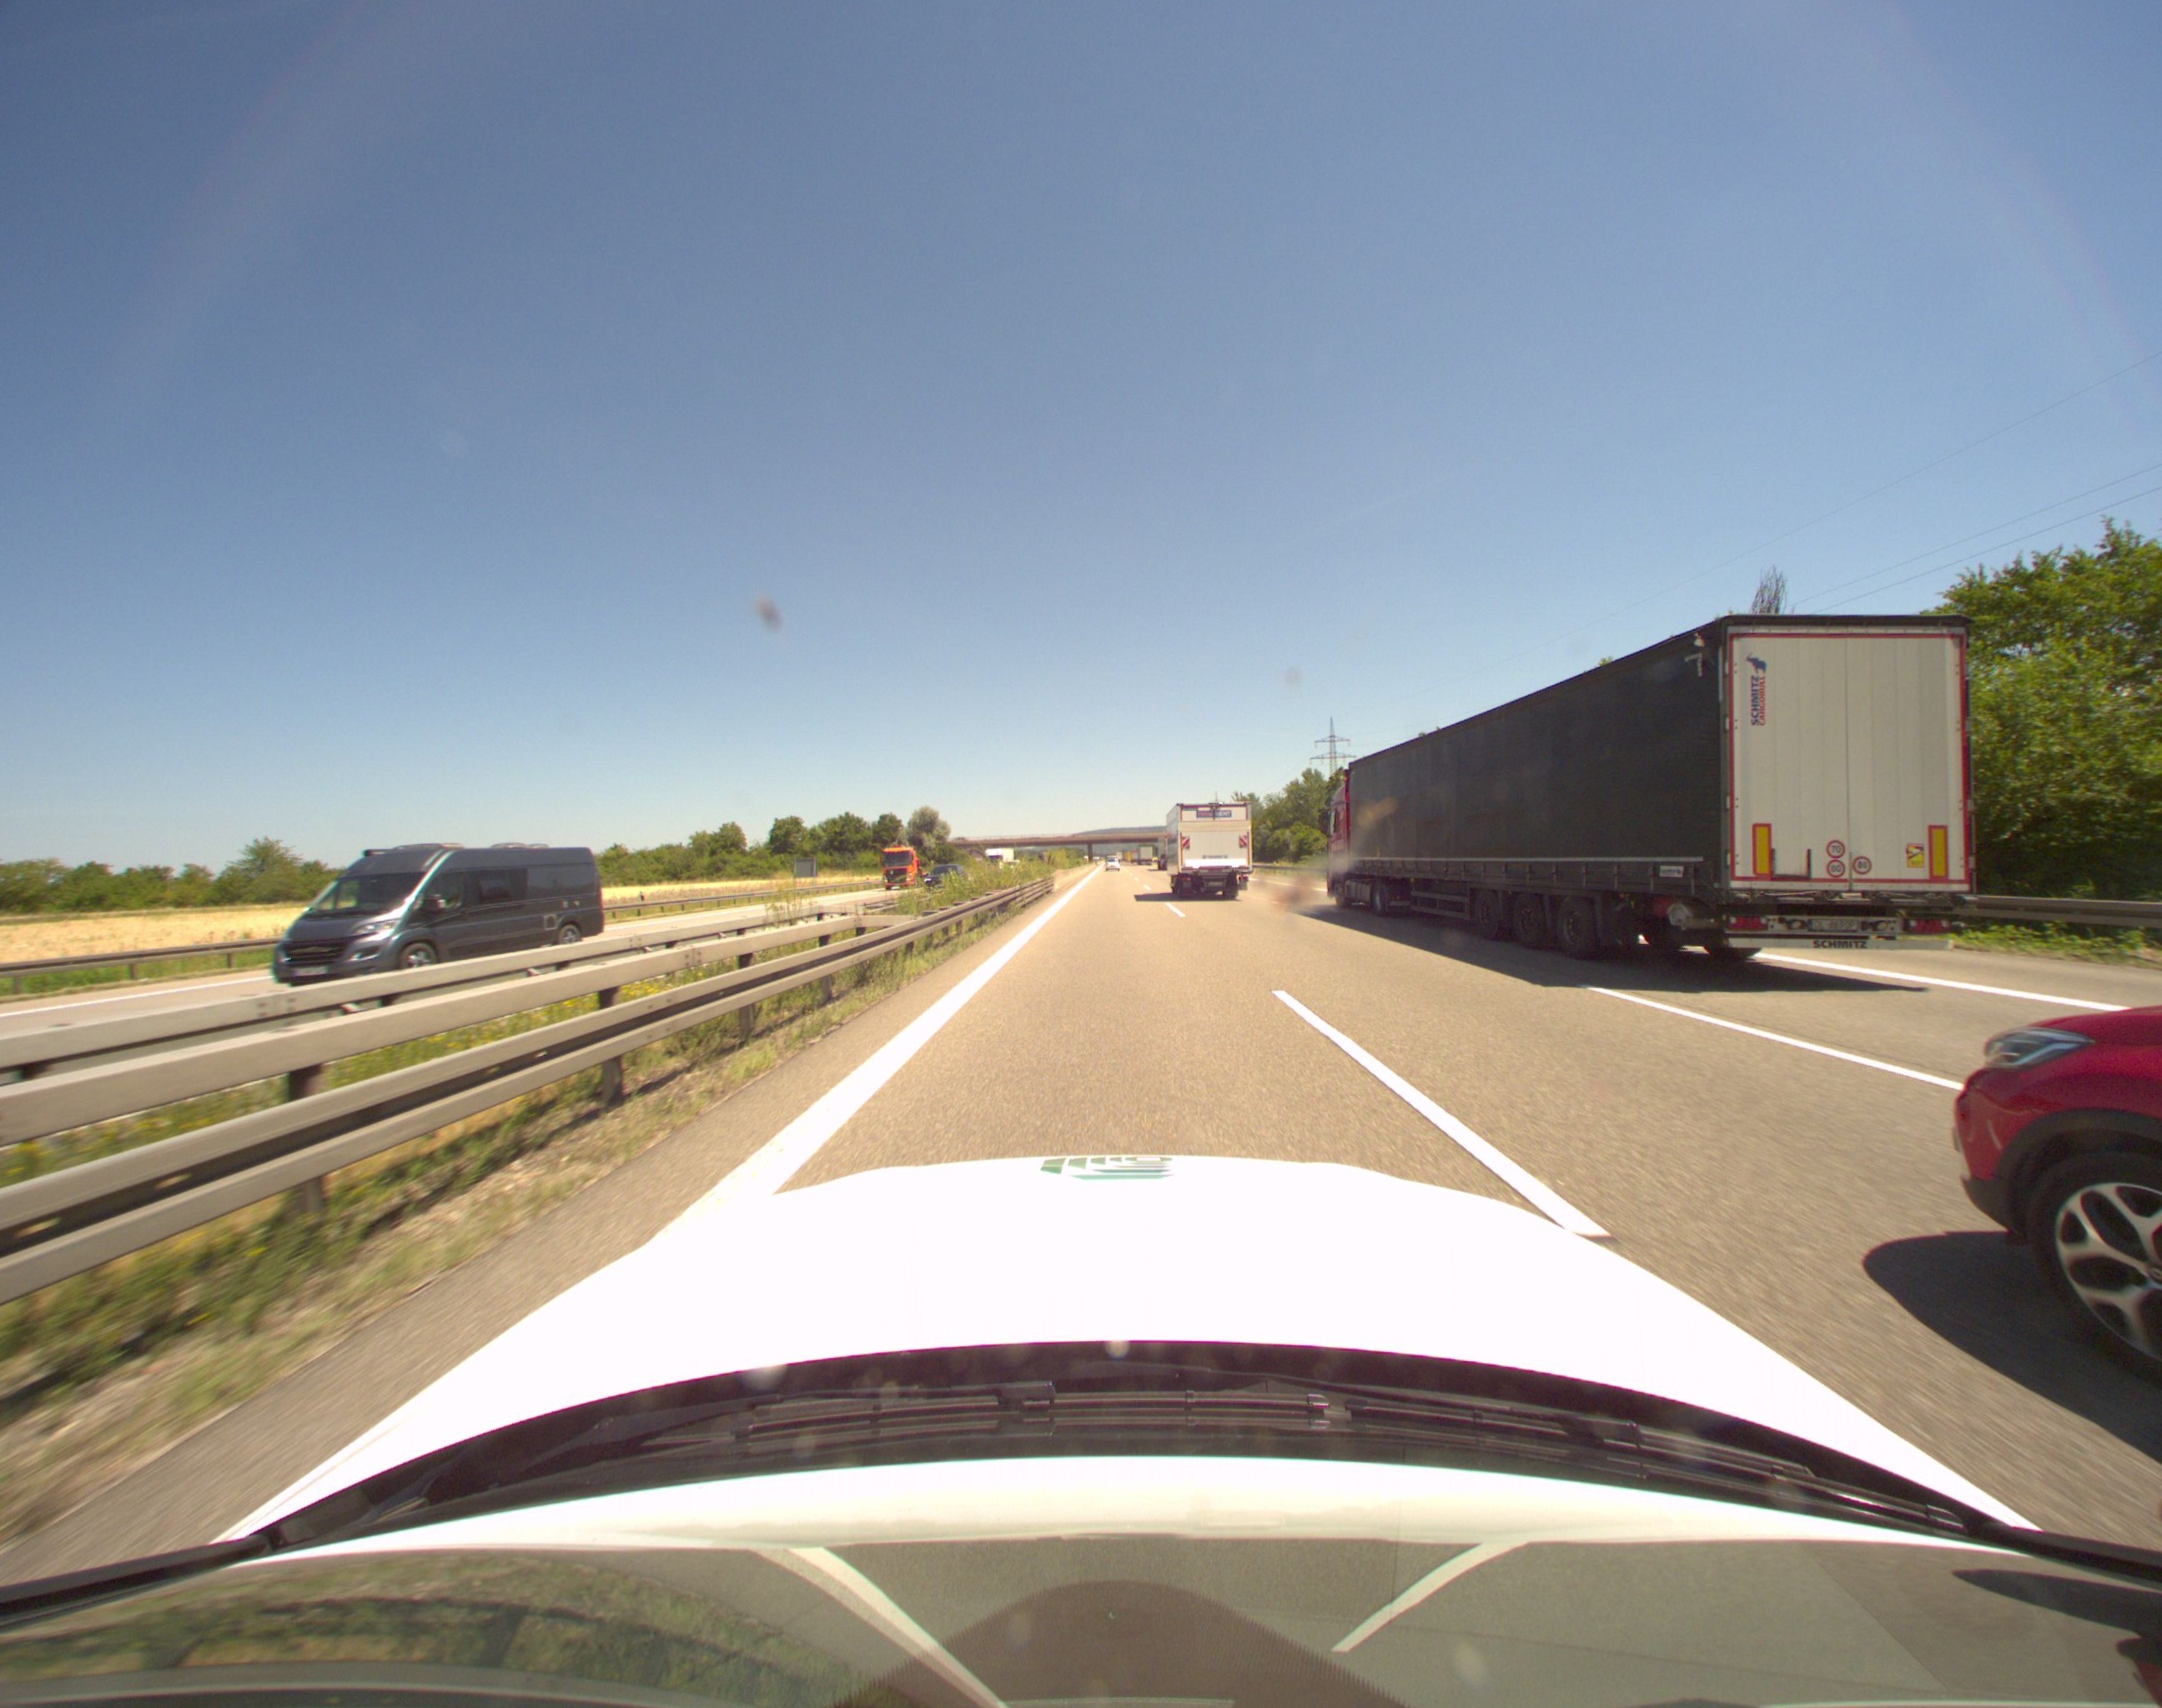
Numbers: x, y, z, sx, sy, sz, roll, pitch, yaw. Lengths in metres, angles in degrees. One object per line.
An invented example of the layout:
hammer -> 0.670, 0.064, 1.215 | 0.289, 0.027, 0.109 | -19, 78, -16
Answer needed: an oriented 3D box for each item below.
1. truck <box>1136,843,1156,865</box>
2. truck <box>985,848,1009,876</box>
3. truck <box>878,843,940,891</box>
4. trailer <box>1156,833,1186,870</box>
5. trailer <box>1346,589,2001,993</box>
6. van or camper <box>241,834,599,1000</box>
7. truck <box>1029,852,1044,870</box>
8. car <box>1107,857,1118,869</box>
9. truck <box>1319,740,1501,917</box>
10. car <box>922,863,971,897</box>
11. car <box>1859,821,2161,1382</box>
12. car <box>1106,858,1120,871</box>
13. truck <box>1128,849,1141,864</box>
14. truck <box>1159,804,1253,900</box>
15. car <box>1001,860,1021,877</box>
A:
truck -> 14.070, 0.048, 177.607 | 3.507, 4.416, 14.598 | -3, 0, 2
truck -> -12.507, 1.192, 122.057 | 2.670, 4.014, 5.757 | -3, 0, 1
truck -> -14.593, 1.068, 70.025 | 2.642, 3.661, 10.193 | -4, 0, 2
trailer -> 11.021, -0.223, 101.006 | 2.784, 4.164, 13.963 | -1, 0, 2
trailer -> 8.366, -0.625, 15.284 | 2.778, 4.164, 13.580 | -1, 0, 2
van or camper -> -12.620, 1.063, 16.345 | 2.163, 2.588, 5.874 | -4, -1, 1
truck -> -10.310, 1.600, 190.598 | 2.823, 3.938, 5.827 | -4, 0, 2
car -> 5.094, 1.464, 132.161 | 1.753, 1.850, 4.003 | -2, 0, 3
truck -> 8.636, -0.591, 22.182 | 2.784, 4.164, 5.726 | -1, 0, 2
car -> -7.329, 1.393, 44.900 | 1.793, 1.653, 4.126 | -4, 0, 2
car -> 3.822, 0.660, 1.099 | 1.796, 1.545, 4.002 | -1, 0, 2
car -> 3.933, 1.301, 99.749 | 1.601, 1.467, 4.003 | -2, 0, 3
truck -> 16.243, 0.764, 247.940 | 3.507, 4.416, 14.598 | -3, 0, 2
truck -> 4.832, -0.054, 32.973 | 2.772, 3.373, 8.131 | -1, -1, 2
car -> -9.025, 1.889, 104.848 | 1.875, 1.987, 4.740 | -4, 0, 1
